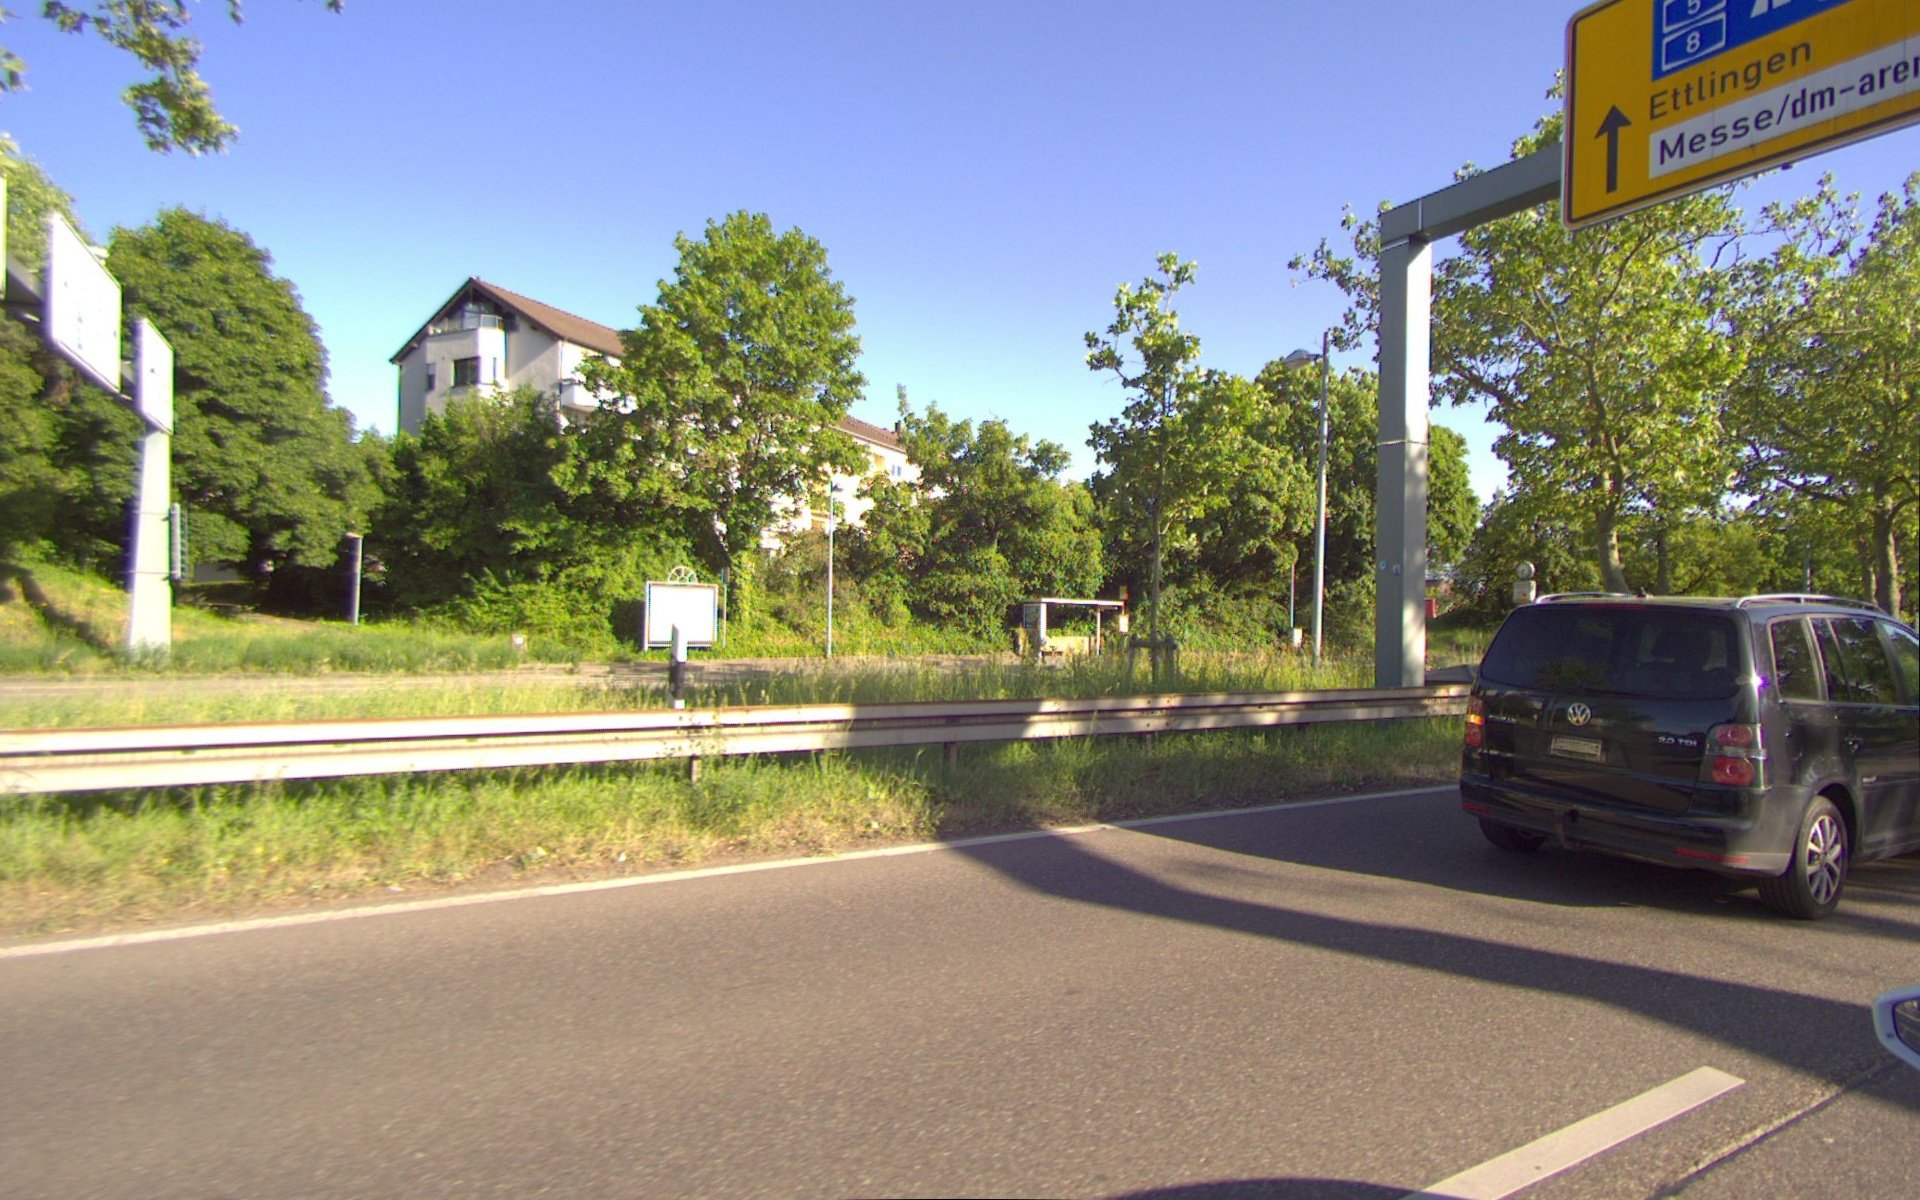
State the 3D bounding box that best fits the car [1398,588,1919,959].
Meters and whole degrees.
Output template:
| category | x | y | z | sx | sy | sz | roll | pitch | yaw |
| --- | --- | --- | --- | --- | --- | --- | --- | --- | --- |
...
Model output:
| category | x | y | z | sx | sy | sz | roll | pitch | yaw |
| --- | --- | --- | --- | --- | --- | --- | --- | --- | --- |
| car | 5.186 | 0.837 | 6.517 | 4.866 | 1.666 | 1.759 | 2 | 0 | -31 |
